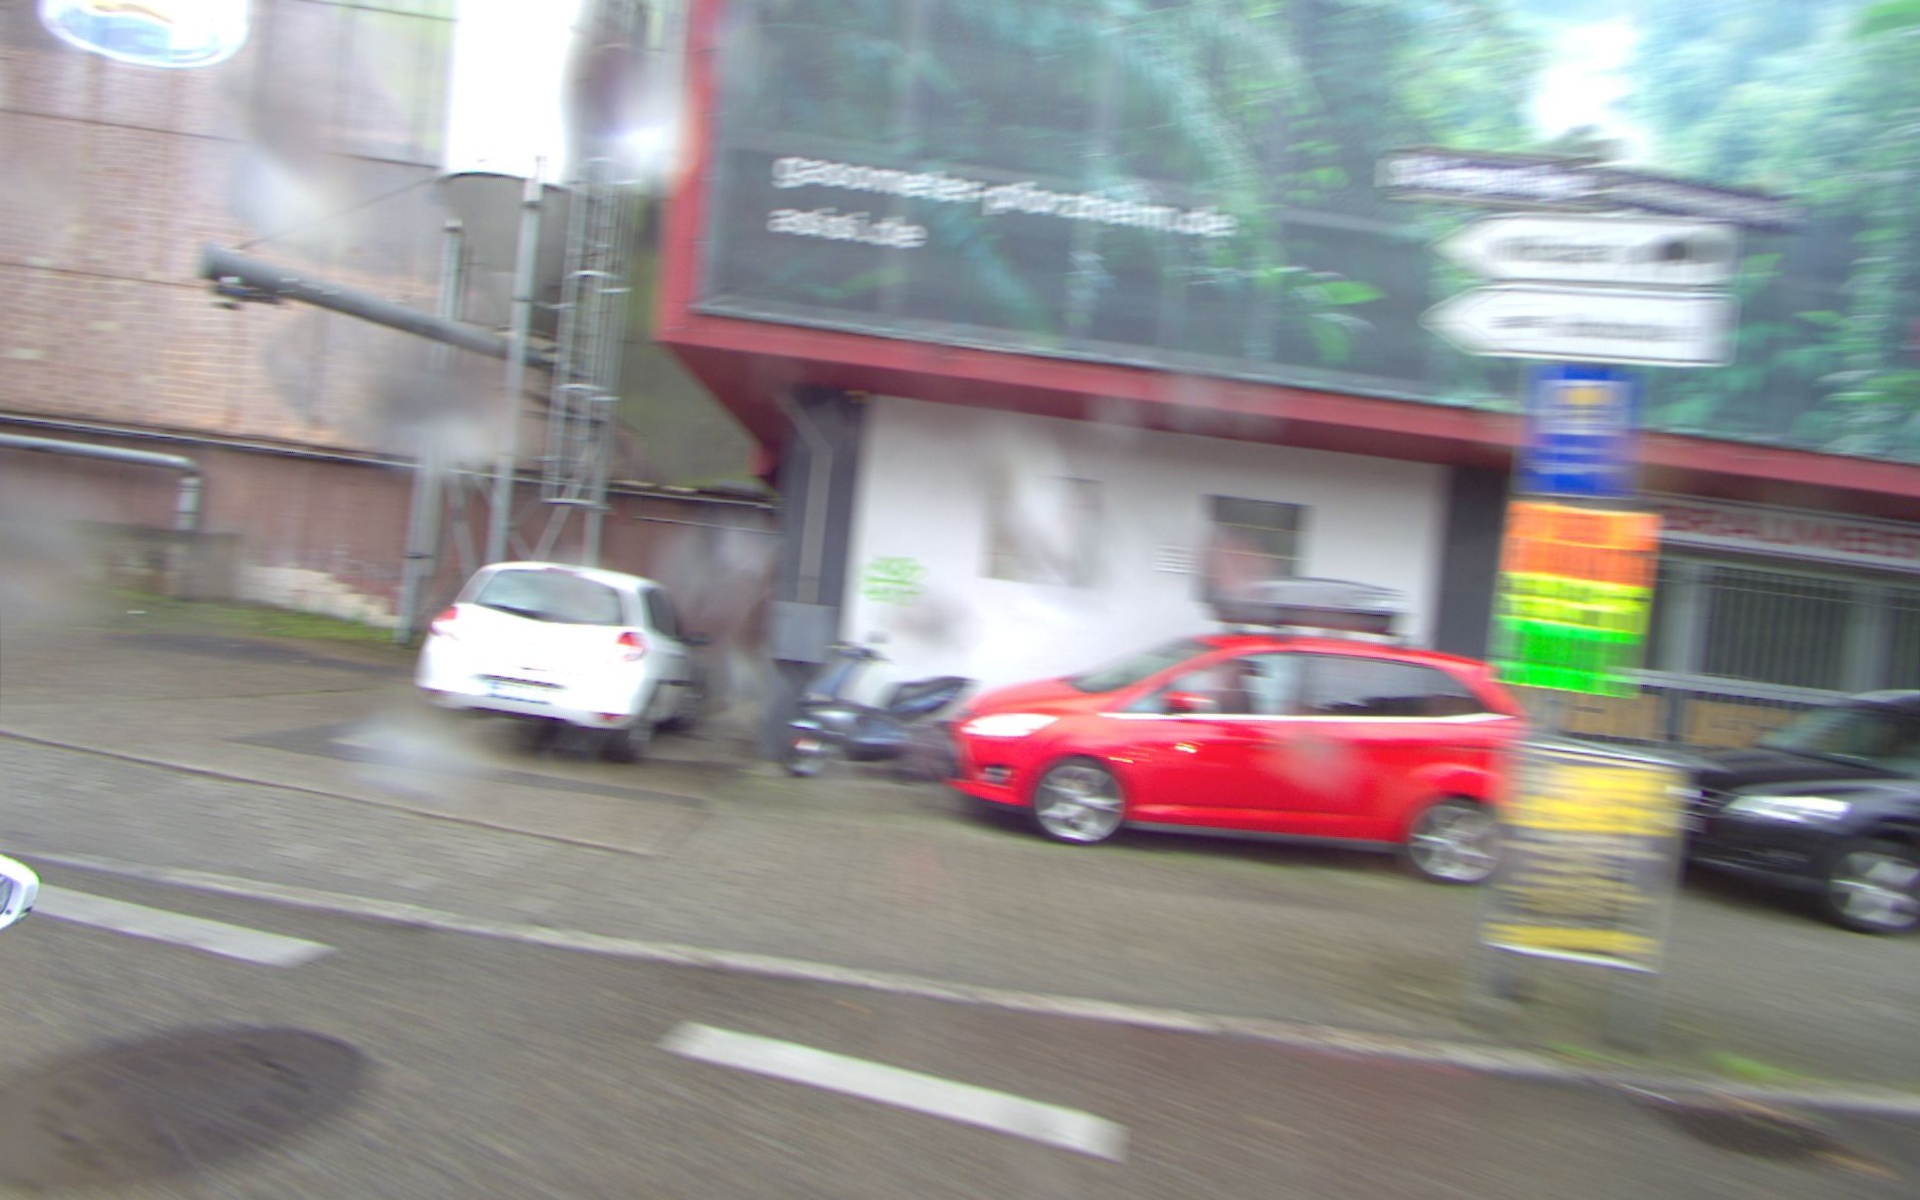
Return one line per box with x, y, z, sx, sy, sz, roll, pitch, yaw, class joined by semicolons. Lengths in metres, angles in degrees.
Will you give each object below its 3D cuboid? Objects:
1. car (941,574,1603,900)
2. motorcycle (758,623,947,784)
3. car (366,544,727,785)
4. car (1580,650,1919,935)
2.150;0.960;7.881;4.410;1.733;1.931;7;0;-2;car
-0.898;0.858;8.377;1.401;1.174;0.451;7;0;-15;motorcycle
-3.470;0.400;9.327;1.842;1.553;3.985;7;2;-5;car
7.478;1.504;7.869;3.926;1.734;1.931;5;1;-2;car
